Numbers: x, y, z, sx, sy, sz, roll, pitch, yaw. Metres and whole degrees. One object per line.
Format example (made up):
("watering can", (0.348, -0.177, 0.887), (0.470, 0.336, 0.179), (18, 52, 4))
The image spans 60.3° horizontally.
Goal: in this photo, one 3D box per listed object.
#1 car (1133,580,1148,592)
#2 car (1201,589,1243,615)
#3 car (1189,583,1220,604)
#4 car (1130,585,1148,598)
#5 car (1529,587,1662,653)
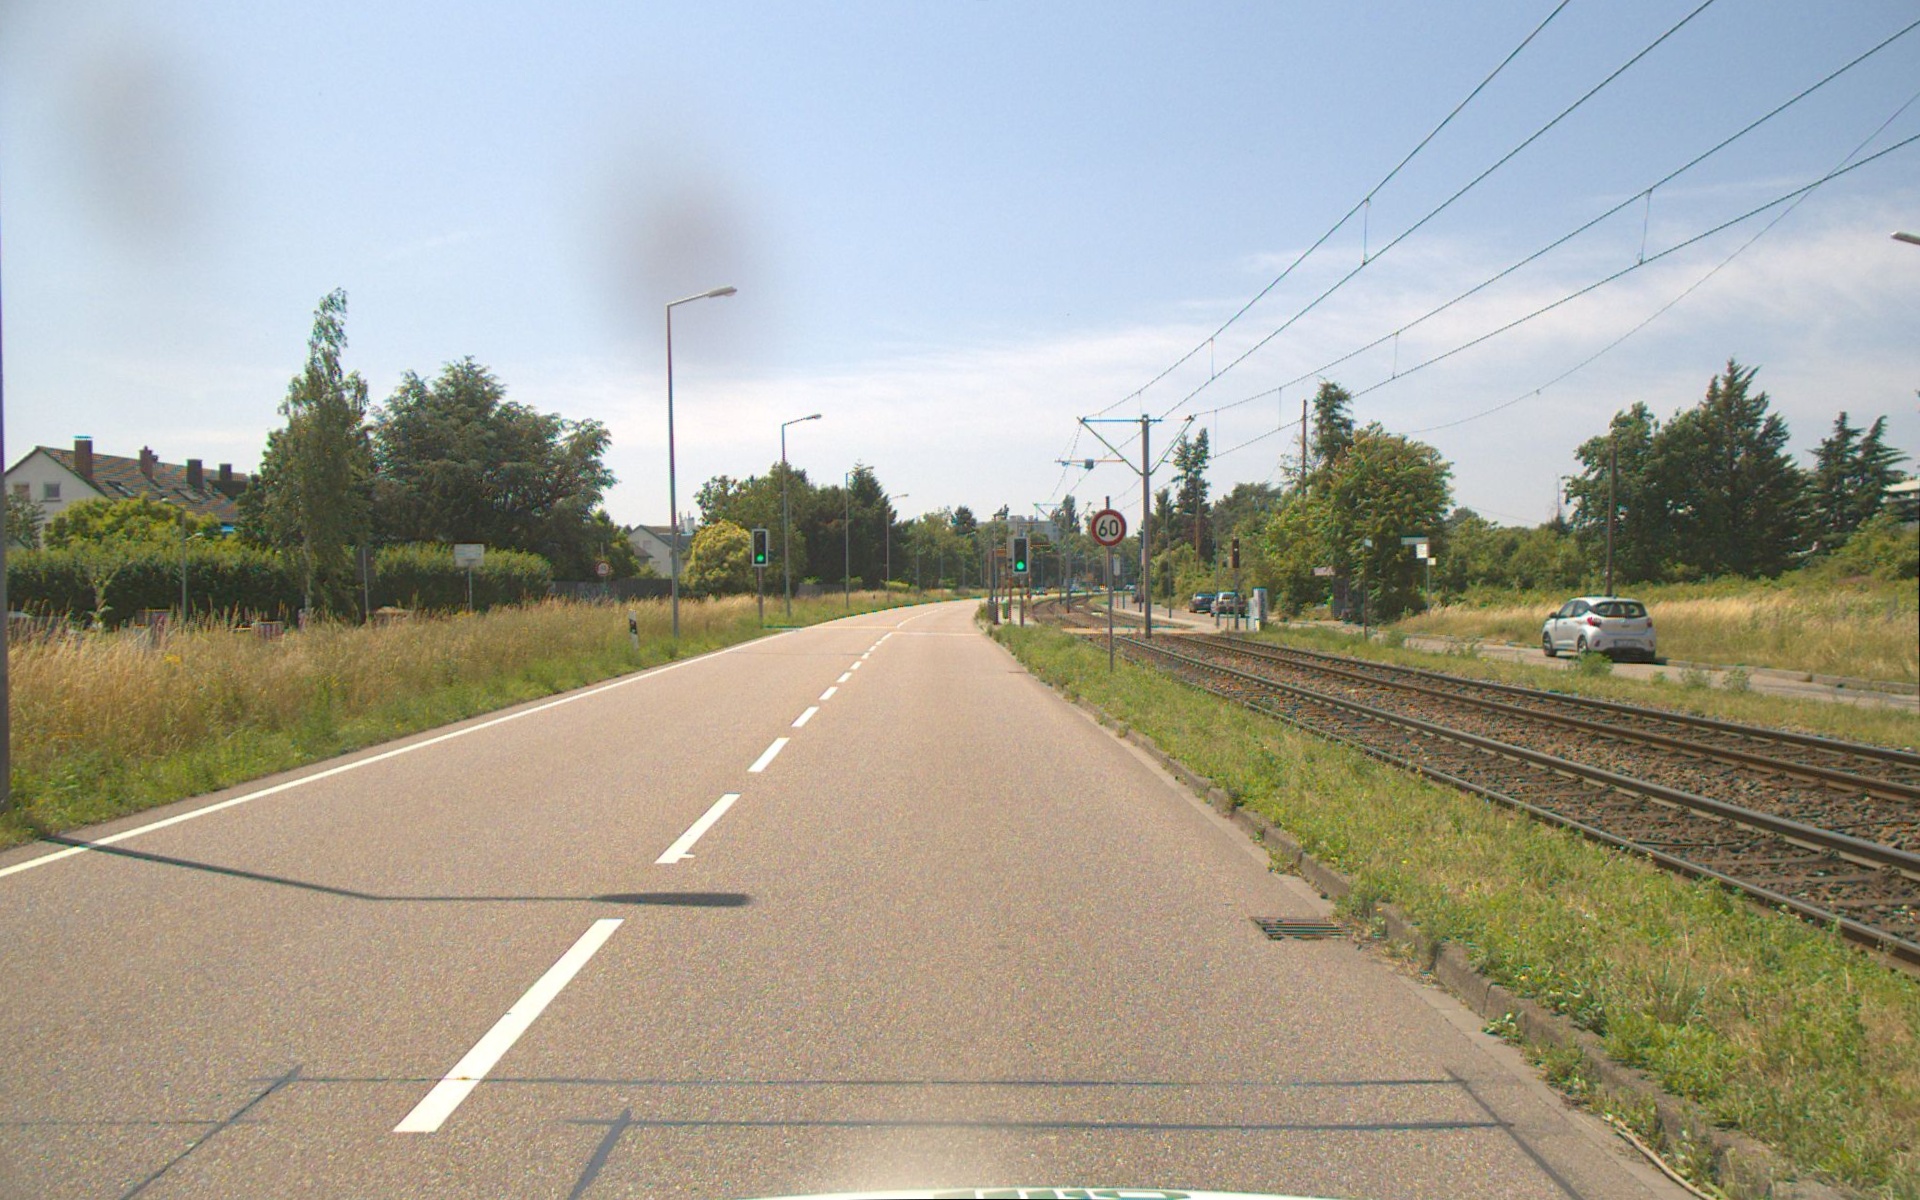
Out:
("car", (23.724, -1.806, 217.529), (1.873, 1.496, 4.003), (0, 0, 5))
("car", (15.136, 0.104, 95.797), (1.899, 1.447, 4.001), (0, 0, 1))
("car", (16.925, -0.460, 114.541), (1.586, 1.447, 4.874), (0, 0, 2))
("car", (19.866, -0.931, 183.638), (1.822, 1.353, 4.517), (0, 0, 3))
("car", (15.367, 0.447, 40.189), (1.678, 1.514, 4.001), (0, 0, 0))
